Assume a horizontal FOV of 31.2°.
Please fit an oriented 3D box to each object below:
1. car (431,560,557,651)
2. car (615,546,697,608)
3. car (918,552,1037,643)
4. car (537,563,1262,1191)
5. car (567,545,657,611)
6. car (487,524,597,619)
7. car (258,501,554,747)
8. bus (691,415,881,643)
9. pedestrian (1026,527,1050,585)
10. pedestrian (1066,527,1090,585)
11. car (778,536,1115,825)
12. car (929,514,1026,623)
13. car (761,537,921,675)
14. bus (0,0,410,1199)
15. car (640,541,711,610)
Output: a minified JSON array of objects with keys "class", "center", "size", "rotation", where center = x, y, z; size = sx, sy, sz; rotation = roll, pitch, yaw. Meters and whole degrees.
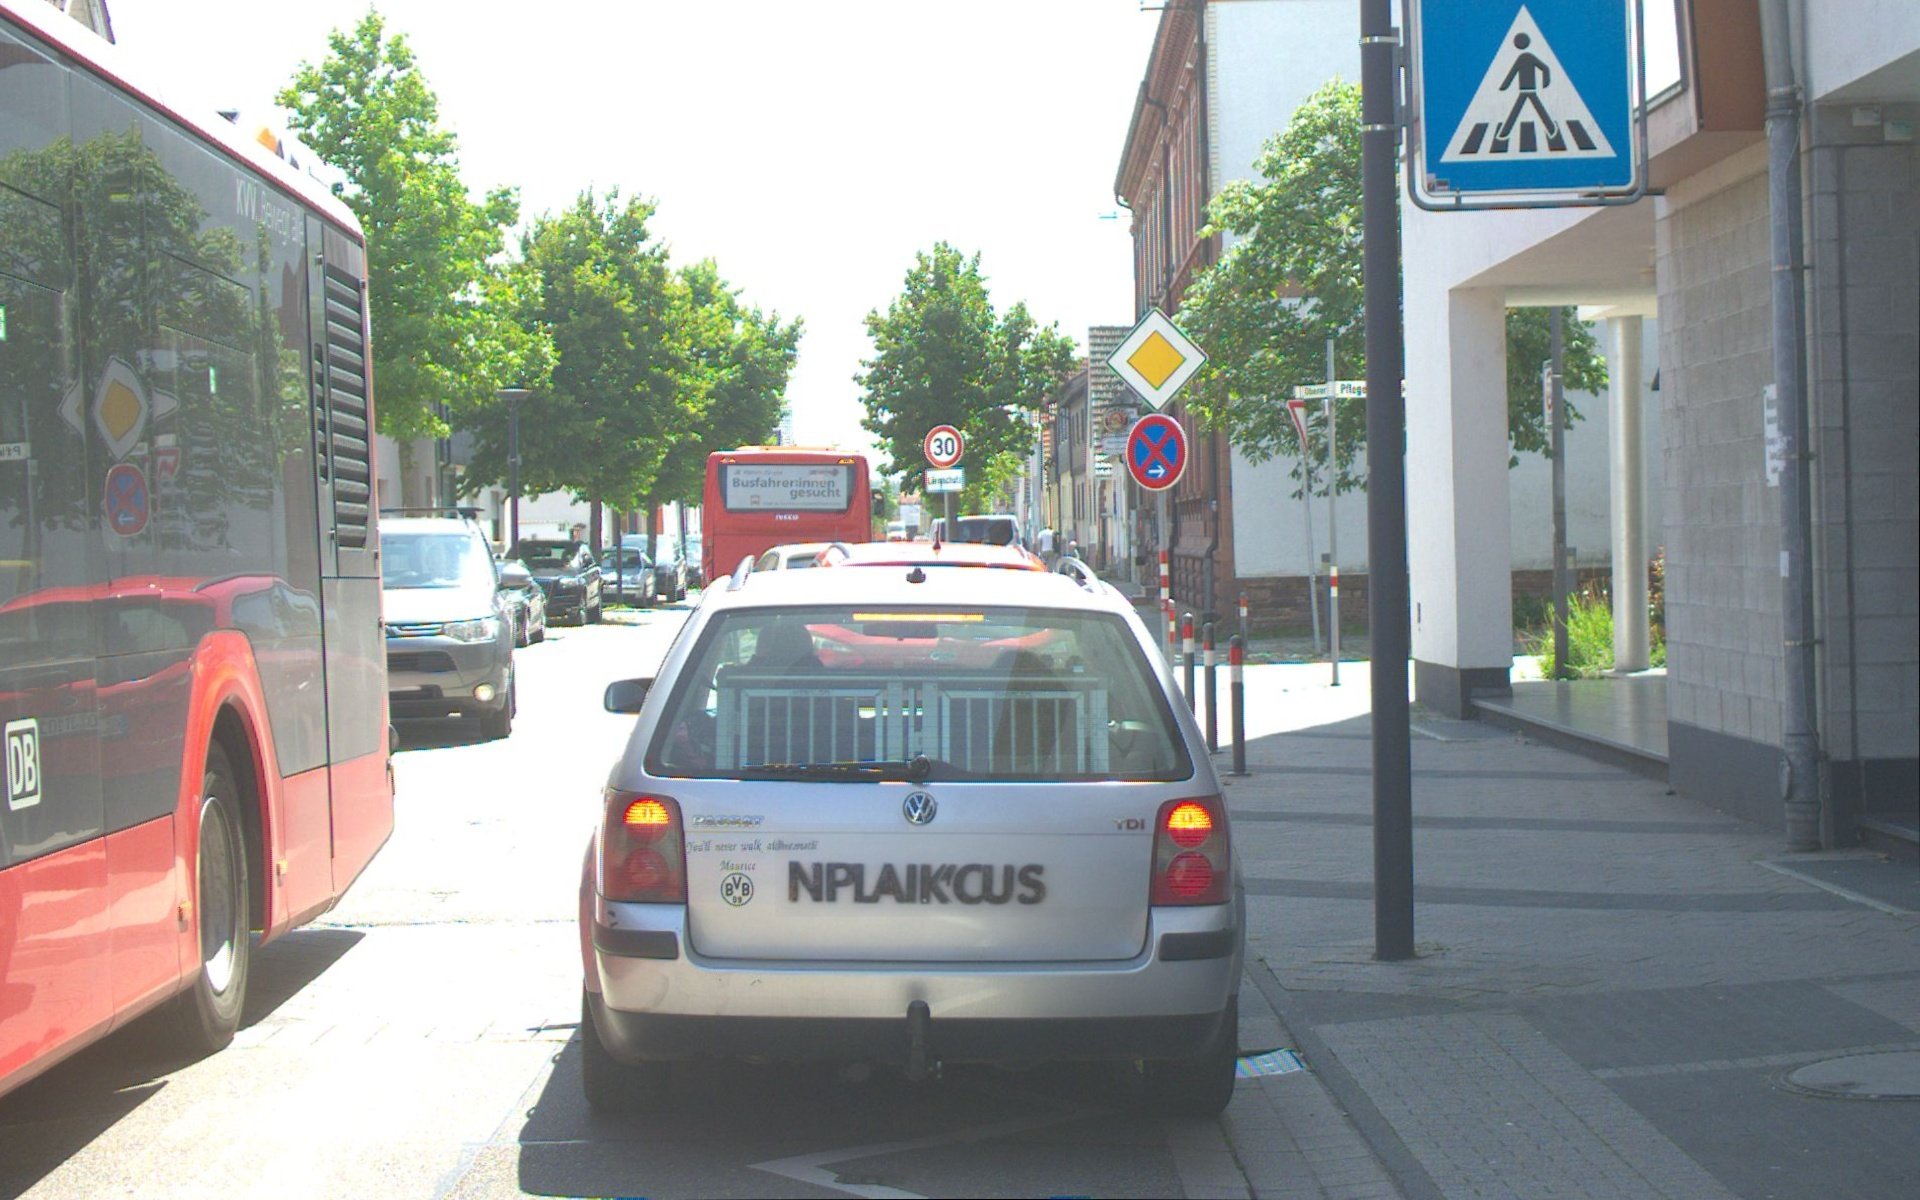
[{"class":"car","center":[-7.854,0.071,58.192],"size":[1.605,1.433,4.065],"rotation":[-1,1,-1]},{"class":"car","center":[-8.020,-0.637,90.945],"size":[1.811,1.553,4.000],"rotation":[-1,1,-1]},{"class":"car","center":[0.234,-0.069,52.987],"size":[1.719,1.304,3.626],"rotation":[-1,1,-1]},{"class":"car","center":[-0.163,0.632,9.903],"size":[1.677,1.425,3.680],"rotation":[1,1,-1]},{"class":"car","center":[-8.515,-0.561,84.352],"size":[1.811,1.553,4.000],"rotation":[-1,1,-1]},{"class":"car","center":[-8.426,-0.595,69.487],"size":[1.764,1.831,3.789],"rotation":[-1,1,-1]},{"class":"car","center":[-4.204,0.134,26.666],"size":[1.675,1.710,4.232],"rotation":[-1,1,-1]},{"class":"bus","center":[-2.868,-1.119,56.556],"size":[2.740,3.287,12.707],"rotation":[-1,1,-3]},{"class":"pedestrian","center":[2.253,-1.281,99.845],"size":[0.606,1.661,0.789],"rotation":[-1,1,-2]},{"class":"pedestrian","center":[3.431,-1.271,99.826],"size":[0.606,1.661,0.789],"rotation":[-1,1,-2]},{"class":"car","center":[-0.091,0.379,19.334],"size":[1.677,1.425,3.680],"rotation":[-2,1,-1]},{"class":"car","center":[0.322,-0.640,68.479],"size":[1.787,2.075,3.626],"rotation":[-1,1,-1]},{"class":"car","center":[-1.249,0.031,37.366],"size":[1.593,1.425,3.679],"rotation":[0,1,0]},{"class":"bus","center":[-3.450,-0.090,5.022],"size":[2.668,3.113,17.808],"rotation":[-2,1,-1]},{"class":"car","center":[-8.527,-0.746,103.332],"size":[1.811,1.989,4.000],"rotation":[-1,1,-1]}]
